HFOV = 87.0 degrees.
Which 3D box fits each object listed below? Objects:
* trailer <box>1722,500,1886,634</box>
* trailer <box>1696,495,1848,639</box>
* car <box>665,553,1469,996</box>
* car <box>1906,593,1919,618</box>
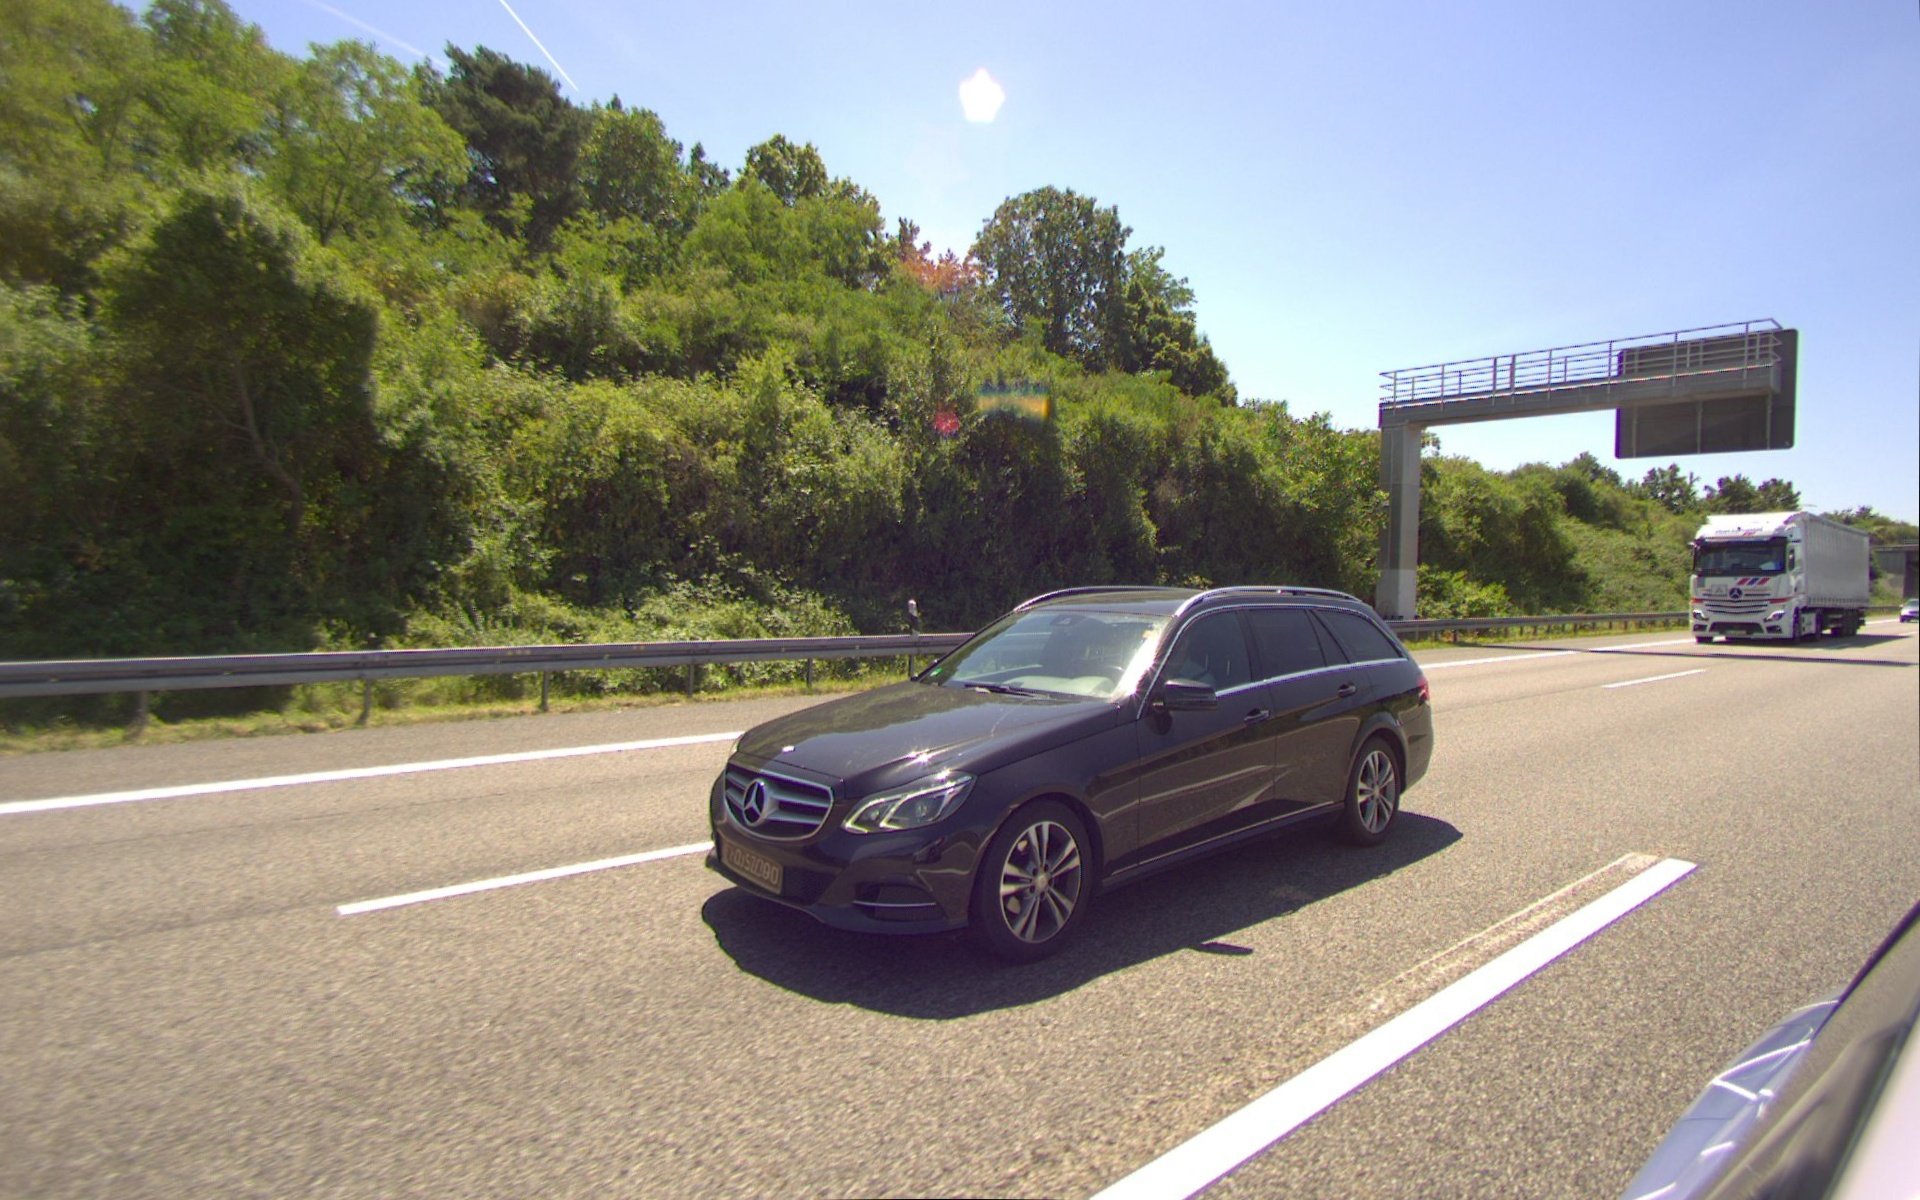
[{"bbox_3d":[30.861,-1.080,36.694,12.962,4.154,2.733,0,1,-42],"label":"trailer"},{"bbox_3d":[26.054,-0.999,32.369,6.672,4.154,2.717,0,1,-42],"label":"trailer"},{"bbox_3d":[0.925,0.577,5.709,4.655,1.524,1.844,0,1,-41],"label":"car"},{"bbox_3d":[58.308,0.326,60.725,4.480,1.430,1.838,0,0,-42],"label":"car"}]
